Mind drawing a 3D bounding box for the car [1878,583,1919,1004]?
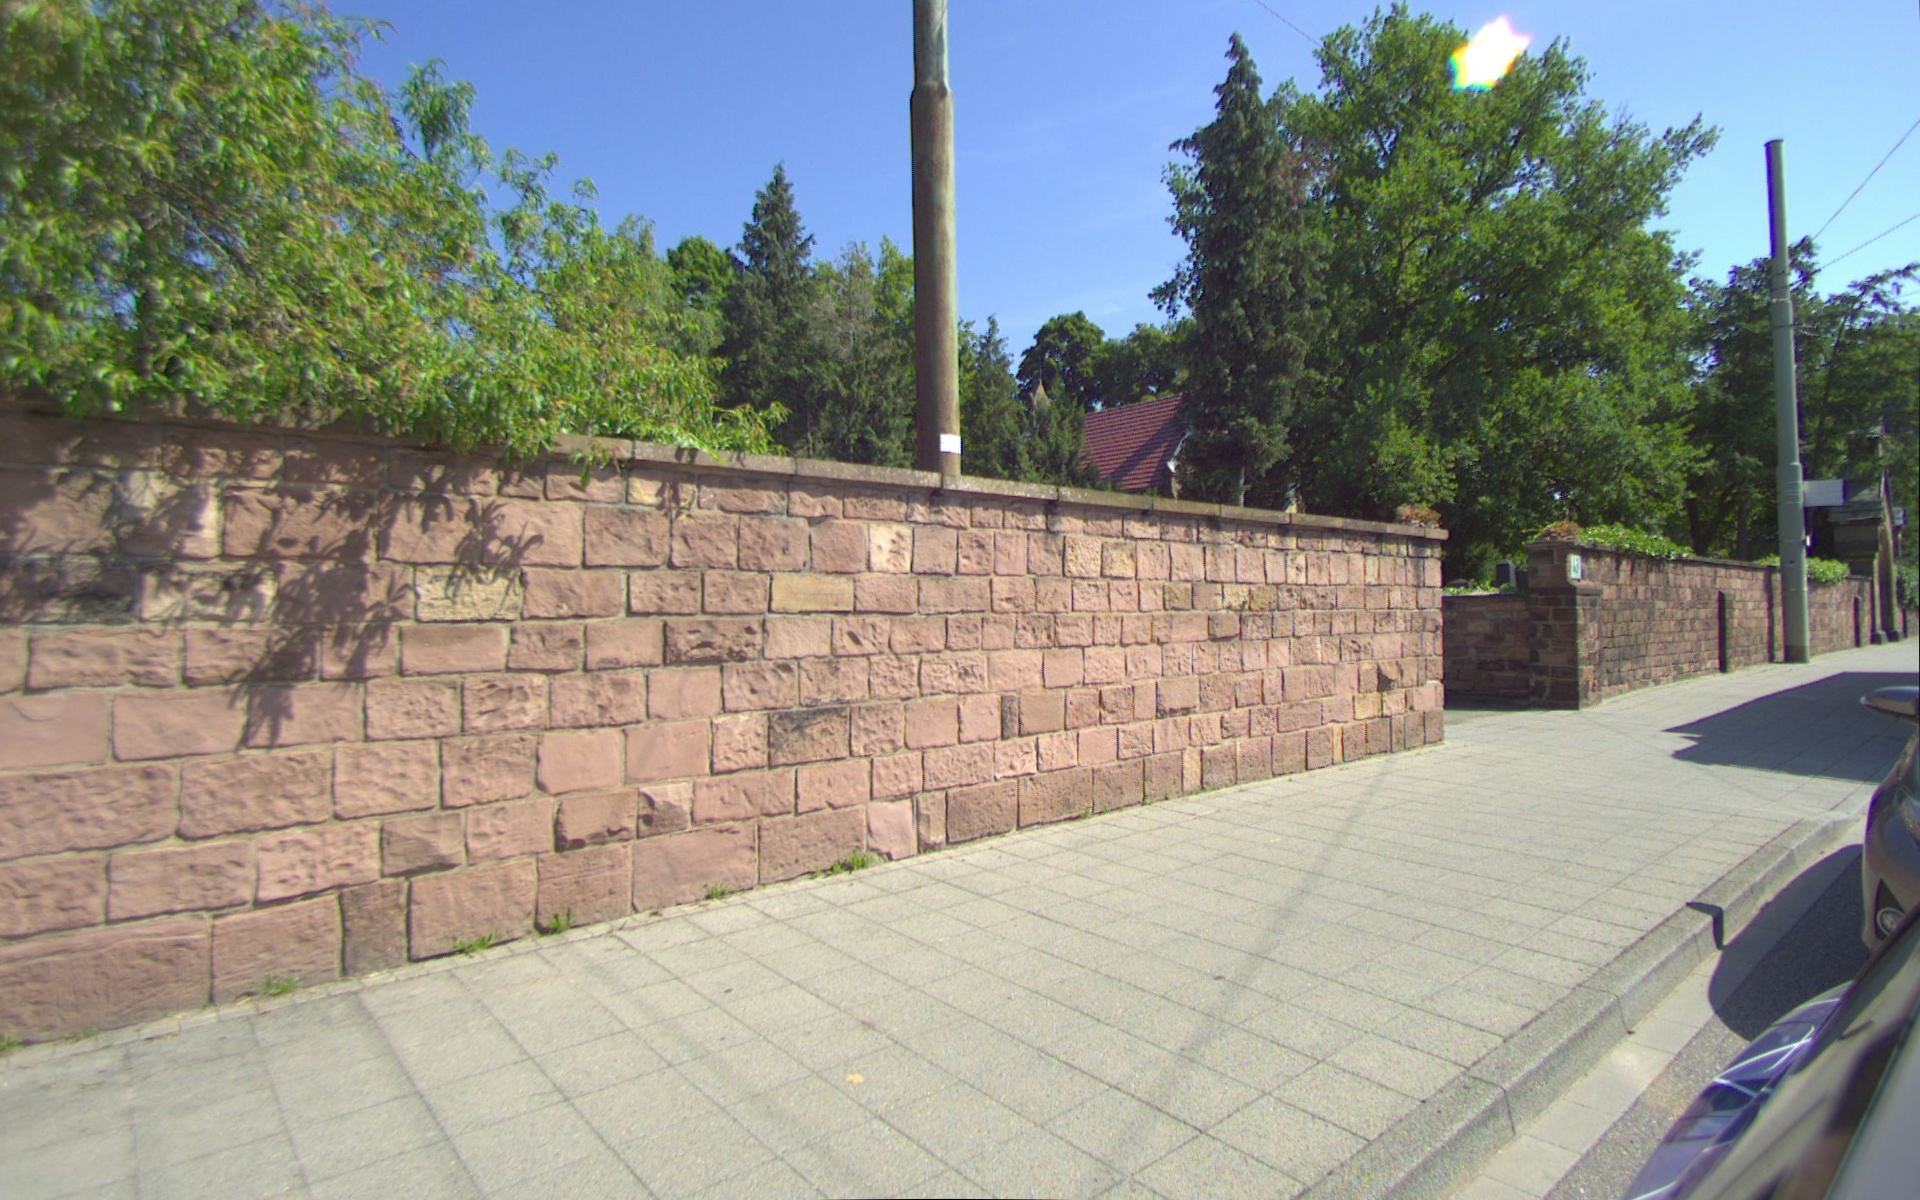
[{"bbox_3d":[5.143,0.643,4.118,3.930,1.400,1.653,0,0,-41],"label":"car"}]
